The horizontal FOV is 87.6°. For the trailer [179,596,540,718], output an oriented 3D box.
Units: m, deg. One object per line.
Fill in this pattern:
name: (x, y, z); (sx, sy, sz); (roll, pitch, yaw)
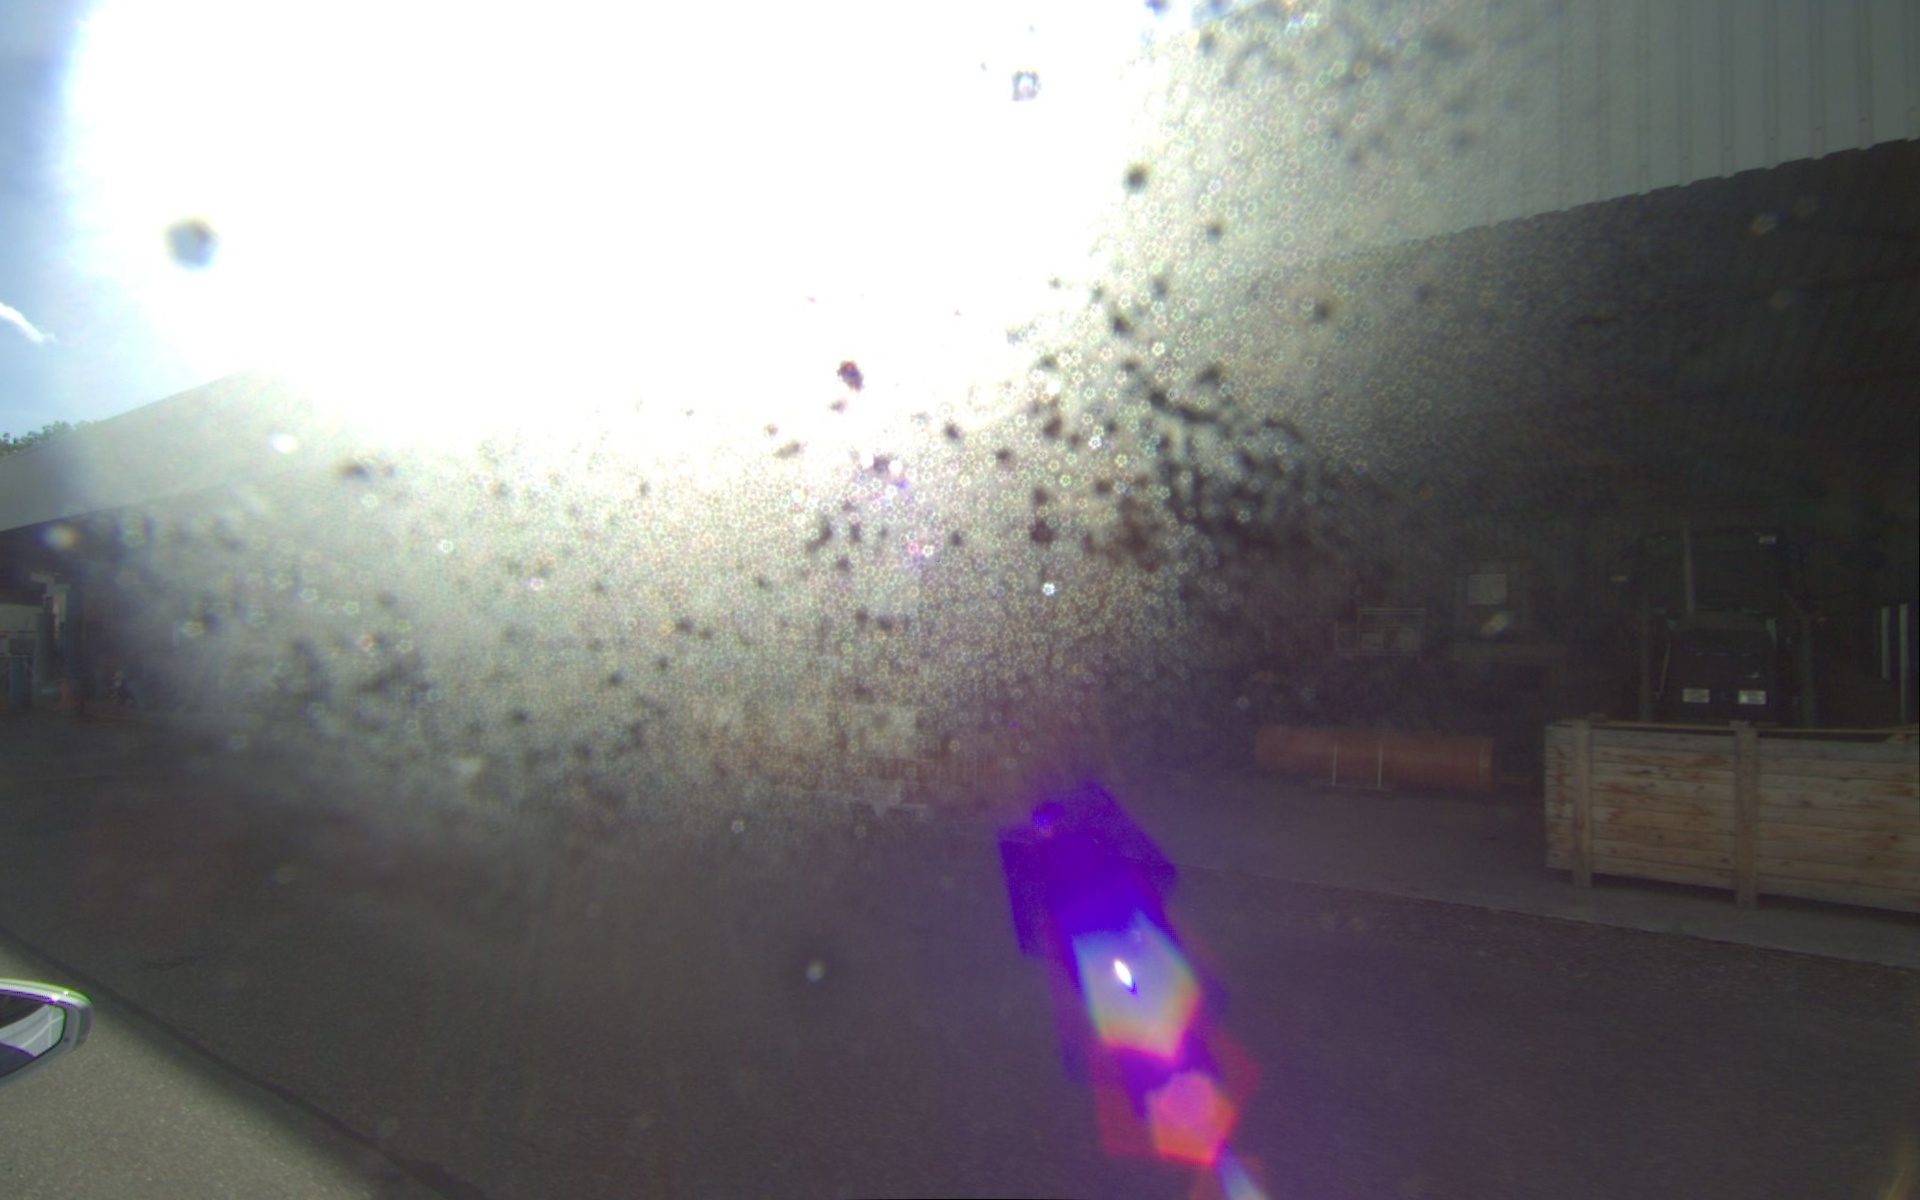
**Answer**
trailer: (-11.558, 1.133, 19.798); (2.050, 2.057, 5.753); (0, -3, 35)

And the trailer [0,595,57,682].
trailer: (-27.533, 1.101, 28.344); (1.704, 2.427, 2.518); (-2, -4, 35)

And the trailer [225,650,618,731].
trailer: (-9.149, 1.521, 17.712); (2.111, 1.147, 5.840); (0, -4, 32)

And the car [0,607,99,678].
car: (-33.406, 1.476, 35.106); (1.891, 2.335, 4.426); (-3, -7, 35)

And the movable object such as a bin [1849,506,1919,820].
movable object such as a bin: (10.027, 0.536, 8.075); (3.169, 2.945, 9.175); (-1, -4, 35)

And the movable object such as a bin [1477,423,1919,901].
movable object such as a bin: (6.898, 0.592, 9.264); (2.976, 2.945, 6.173); (-1, -4, 35)
